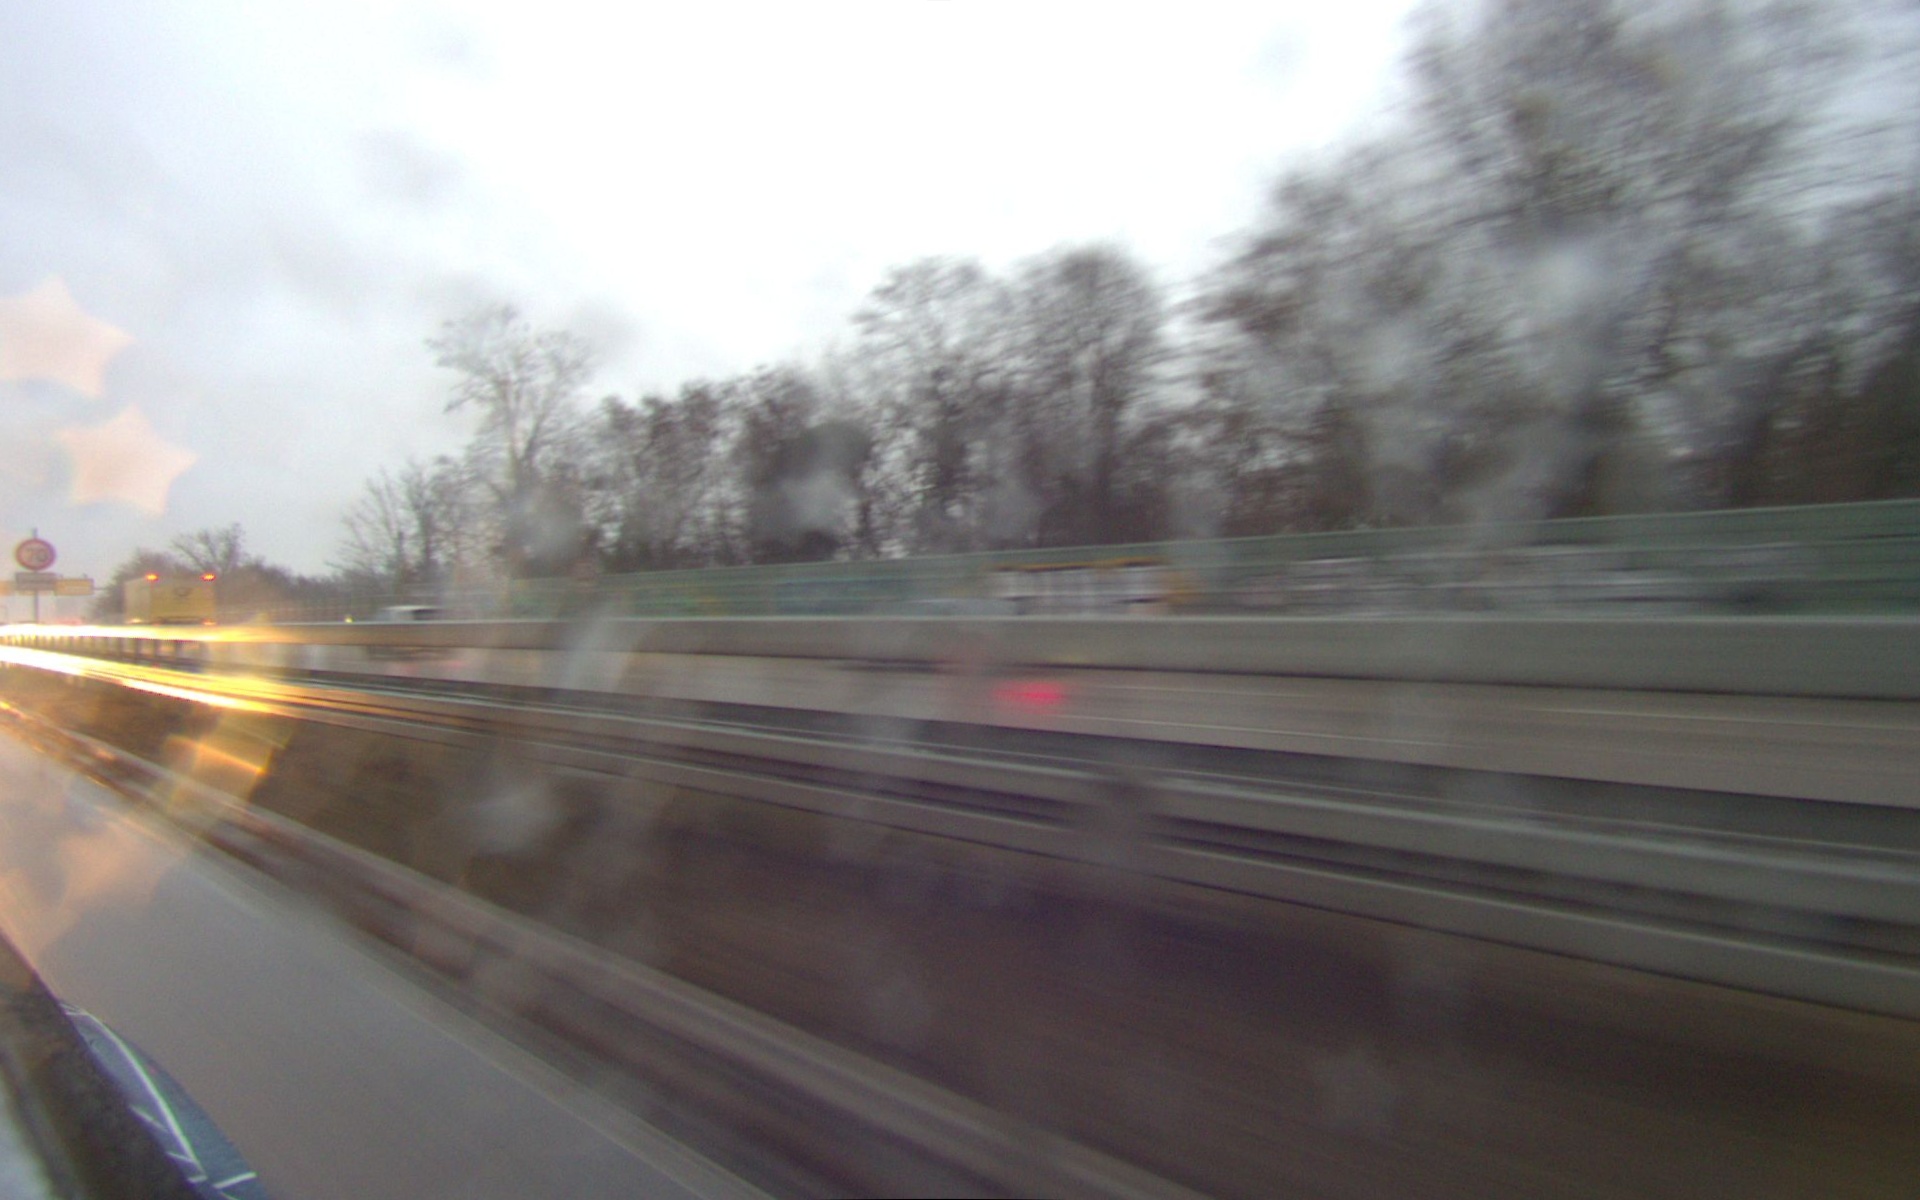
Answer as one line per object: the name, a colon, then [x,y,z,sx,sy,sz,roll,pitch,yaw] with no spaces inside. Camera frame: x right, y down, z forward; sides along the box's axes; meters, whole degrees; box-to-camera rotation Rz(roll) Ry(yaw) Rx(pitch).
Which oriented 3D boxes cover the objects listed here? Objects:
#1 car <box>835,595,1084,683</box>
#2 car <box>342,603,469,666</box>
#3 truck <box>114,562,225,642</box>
car: [-0.110,0.691,19.932,4.794,1.525,1.973,-1,0,41]
car: [-15.983,0.944,29.112,3.998,1.661,1.973,-1,0,41]
truck: [-41.578,0.134,53.102,9.367,3.886,3.045,-1,0,42]
